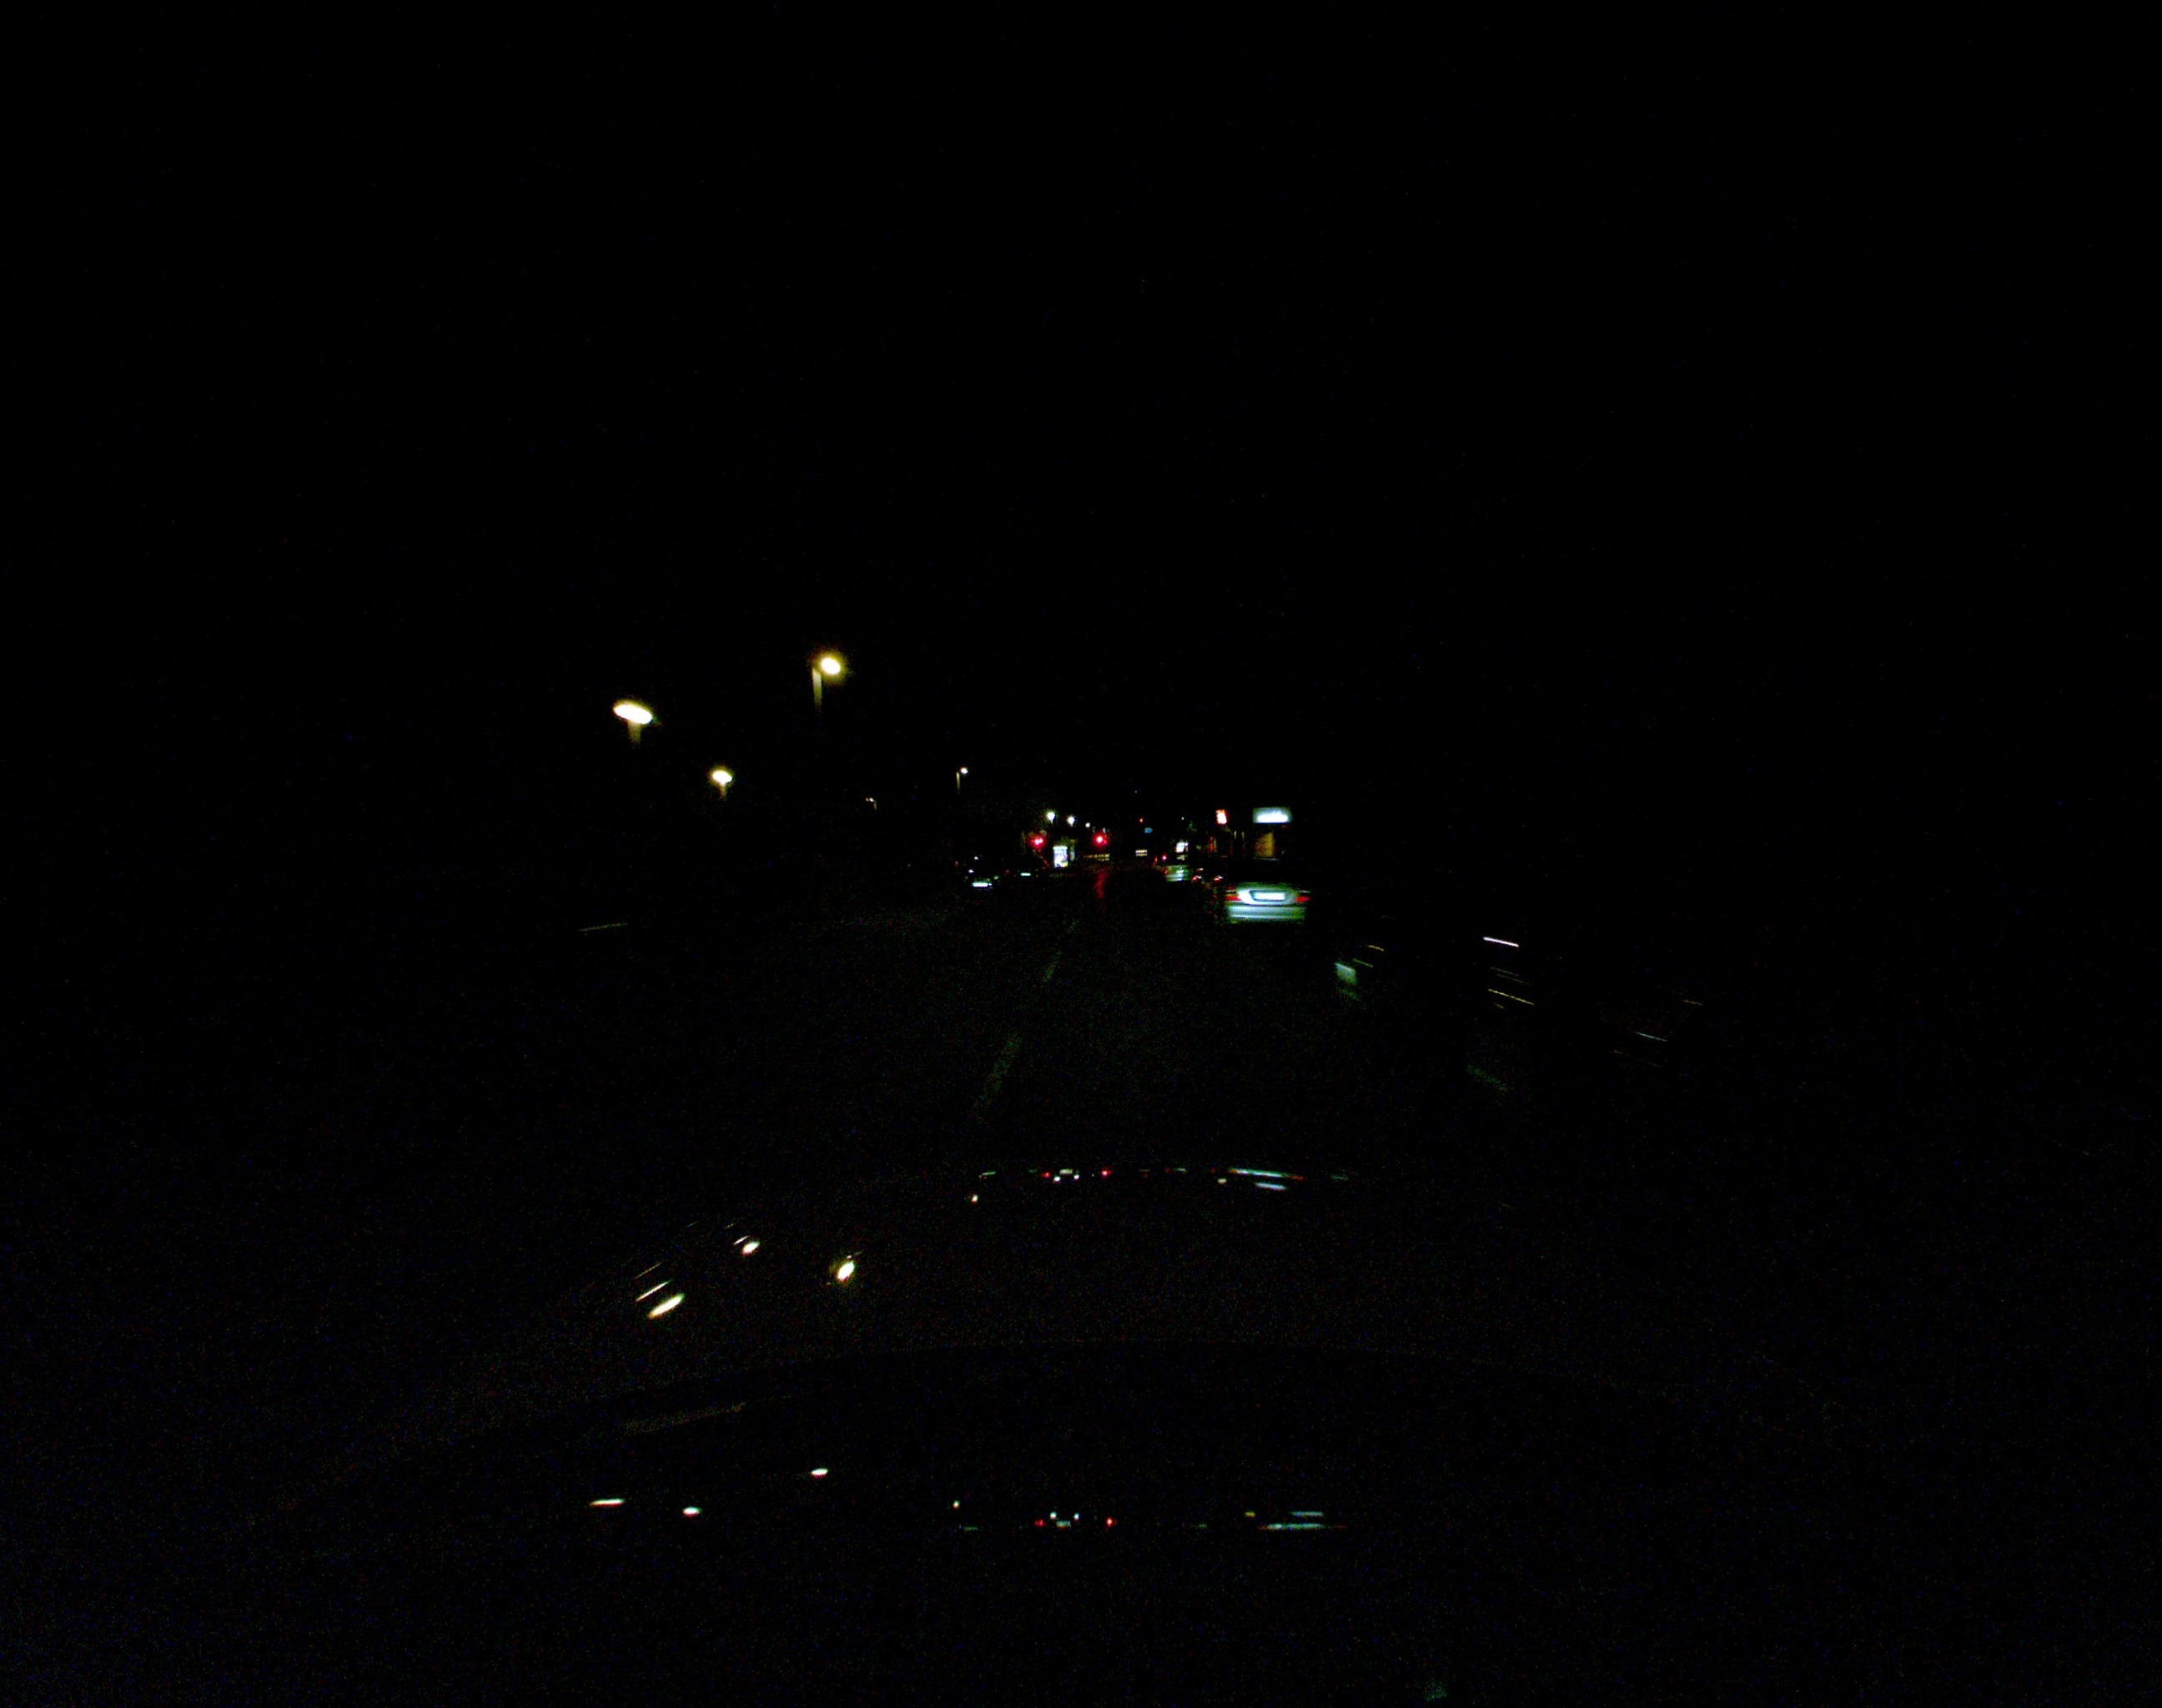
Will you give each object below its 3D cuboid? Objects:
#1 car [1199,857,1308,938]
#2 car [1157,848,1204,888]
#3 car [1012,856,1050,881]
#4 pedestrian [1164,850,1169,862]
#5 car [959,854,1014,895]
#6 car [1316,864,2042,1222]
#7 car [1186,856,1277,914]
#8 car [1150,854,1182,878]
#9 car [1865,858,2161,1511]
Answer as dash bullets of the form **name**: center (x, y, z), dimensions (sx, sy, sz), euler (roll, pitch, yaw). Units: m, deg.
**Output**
- **car**: center (3.451, 0.795, 17.038), dimensions (1.669, 1.447, 4.617), euler (0, 0, 5)
- **car**: center (4.471, 0.621, 37.245), dimensions (1.779, 1.641, 4.383), euler (-3, 0, 3)
- **car**: center (-3.022, 0.867, 49.606), dimensions (1.683, 1.436, 4.134), euler (0, 0, 5)
- **pedestrian**: center (13.715, 0.332, 130.105), dimensions (0.710, 1.795, 0.572), euler (-1, -1, 14)
- **car**: center (-3.714, 0.815, 32.464), dimensions (1.685, 1.524, 3.692), euler (0, -1, 1)
- **car**: center (3.107, 0.806, 5.581), dimensions (1.756, 1.416, 4.440), euler (0, 0, 1)
- **car**: center (3.992, 0.772, 22.202), dimensions (1.773, 1.437, 4.290), euler (0, 0, 1)
- **car**: center (5.532, 0.745, 53.429), dimensions (1.849, 1.442, 4.599), euler (-3, 0, 4)
- **car**: center (3.209, 0.746, 0.649), dimensions (1.632, 1.466, 3.778), euler (0, 0, 2)
